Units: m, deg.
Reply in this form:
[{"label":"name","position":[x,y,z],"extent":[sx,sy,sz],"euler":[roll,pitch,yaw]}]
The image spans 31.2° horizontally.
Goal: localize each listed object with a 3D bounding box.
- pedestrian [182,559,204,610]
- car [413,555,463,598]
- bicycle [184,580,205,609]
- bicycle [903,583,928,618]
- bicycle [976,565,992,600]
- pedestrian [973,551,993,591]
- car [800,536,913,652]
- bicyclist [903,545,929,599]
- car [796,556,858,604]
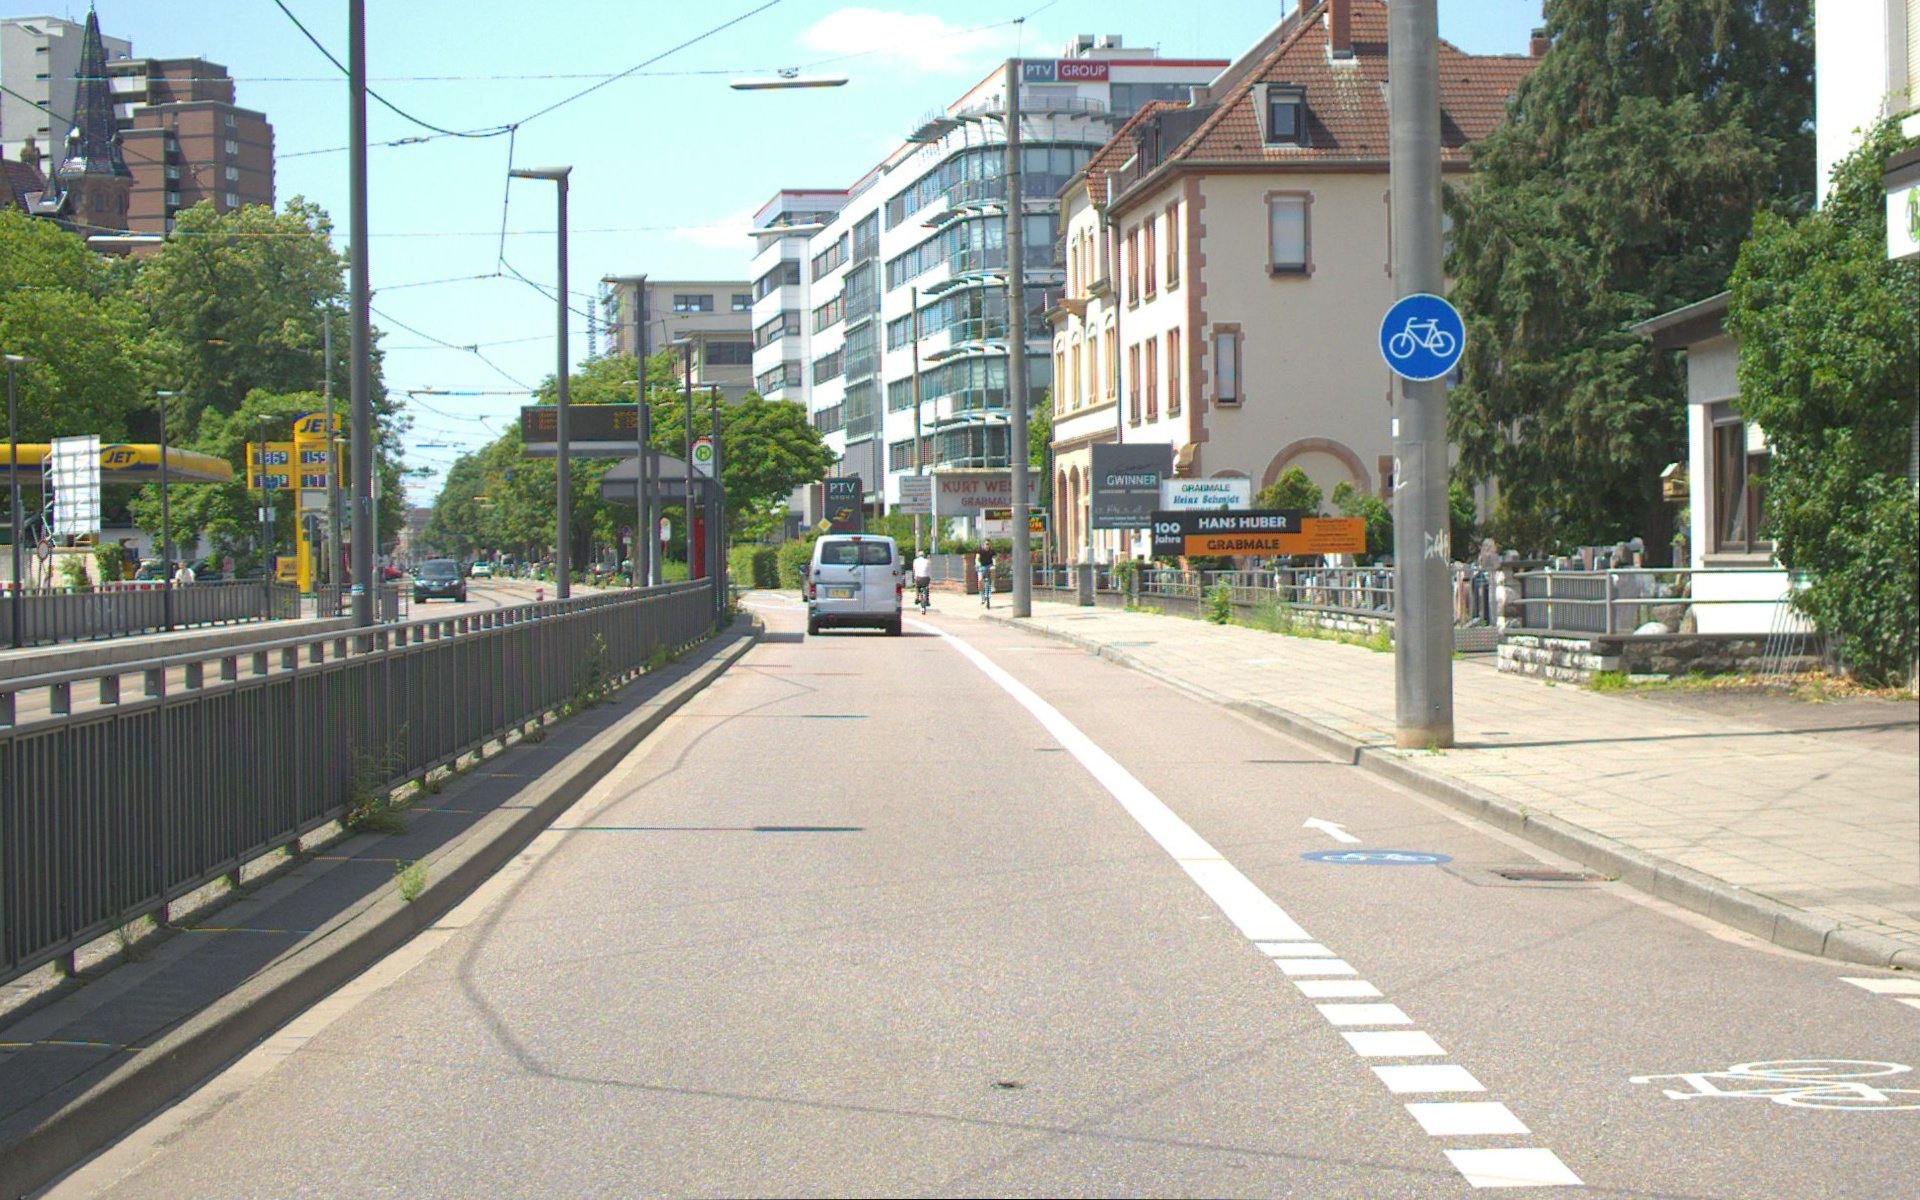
[{"label":"pedestrian","position":[-20.835,-0.416,93.431],"extent":[0.435,1.379,0.536],"euler":[-3,0,-2]},{"label":"car","position":[-20.159,-0.912,132.841],"extent":[1.698,1.610,3.759],"euler":[-1,1,-6]},{"label":"bicycle","position":[-20.805,-0.146,93.429],"extent":[0.292,0.759,1.187],"euler":[-3,0,-1]},{"label":"bicycle","position":[-1.150,0.007,88.730],"extent":[0.465,0.884,2.048],"euler":[0,1,-6]},{"label":"bicycle","position":[0.650,-0.473,93.286],"extent":[0.356,0.937,1.317],"euler":[-3,0,-1]},{"label":"pedestrian","position":[0.622,-0.787,93.330],"extent":[0.483,1.050,0.537],"euler":[-3,0,-1]},{"label":"car","position":[-1.947,-0.150,63.690],"extent":[1.752,2.006,4.001],"euler":[-2,2,-6]},{"label":"bicyclist","position":[-1.133,-0.718,88.649],"extent":[0.591,1.392,0.842],"euler":[0,1,-6]},{"label":"car","position":[-4.917,-0.761,126.350],"extent":[1.863,1.681,5.001],"euler":[-2,1,-7]}]
